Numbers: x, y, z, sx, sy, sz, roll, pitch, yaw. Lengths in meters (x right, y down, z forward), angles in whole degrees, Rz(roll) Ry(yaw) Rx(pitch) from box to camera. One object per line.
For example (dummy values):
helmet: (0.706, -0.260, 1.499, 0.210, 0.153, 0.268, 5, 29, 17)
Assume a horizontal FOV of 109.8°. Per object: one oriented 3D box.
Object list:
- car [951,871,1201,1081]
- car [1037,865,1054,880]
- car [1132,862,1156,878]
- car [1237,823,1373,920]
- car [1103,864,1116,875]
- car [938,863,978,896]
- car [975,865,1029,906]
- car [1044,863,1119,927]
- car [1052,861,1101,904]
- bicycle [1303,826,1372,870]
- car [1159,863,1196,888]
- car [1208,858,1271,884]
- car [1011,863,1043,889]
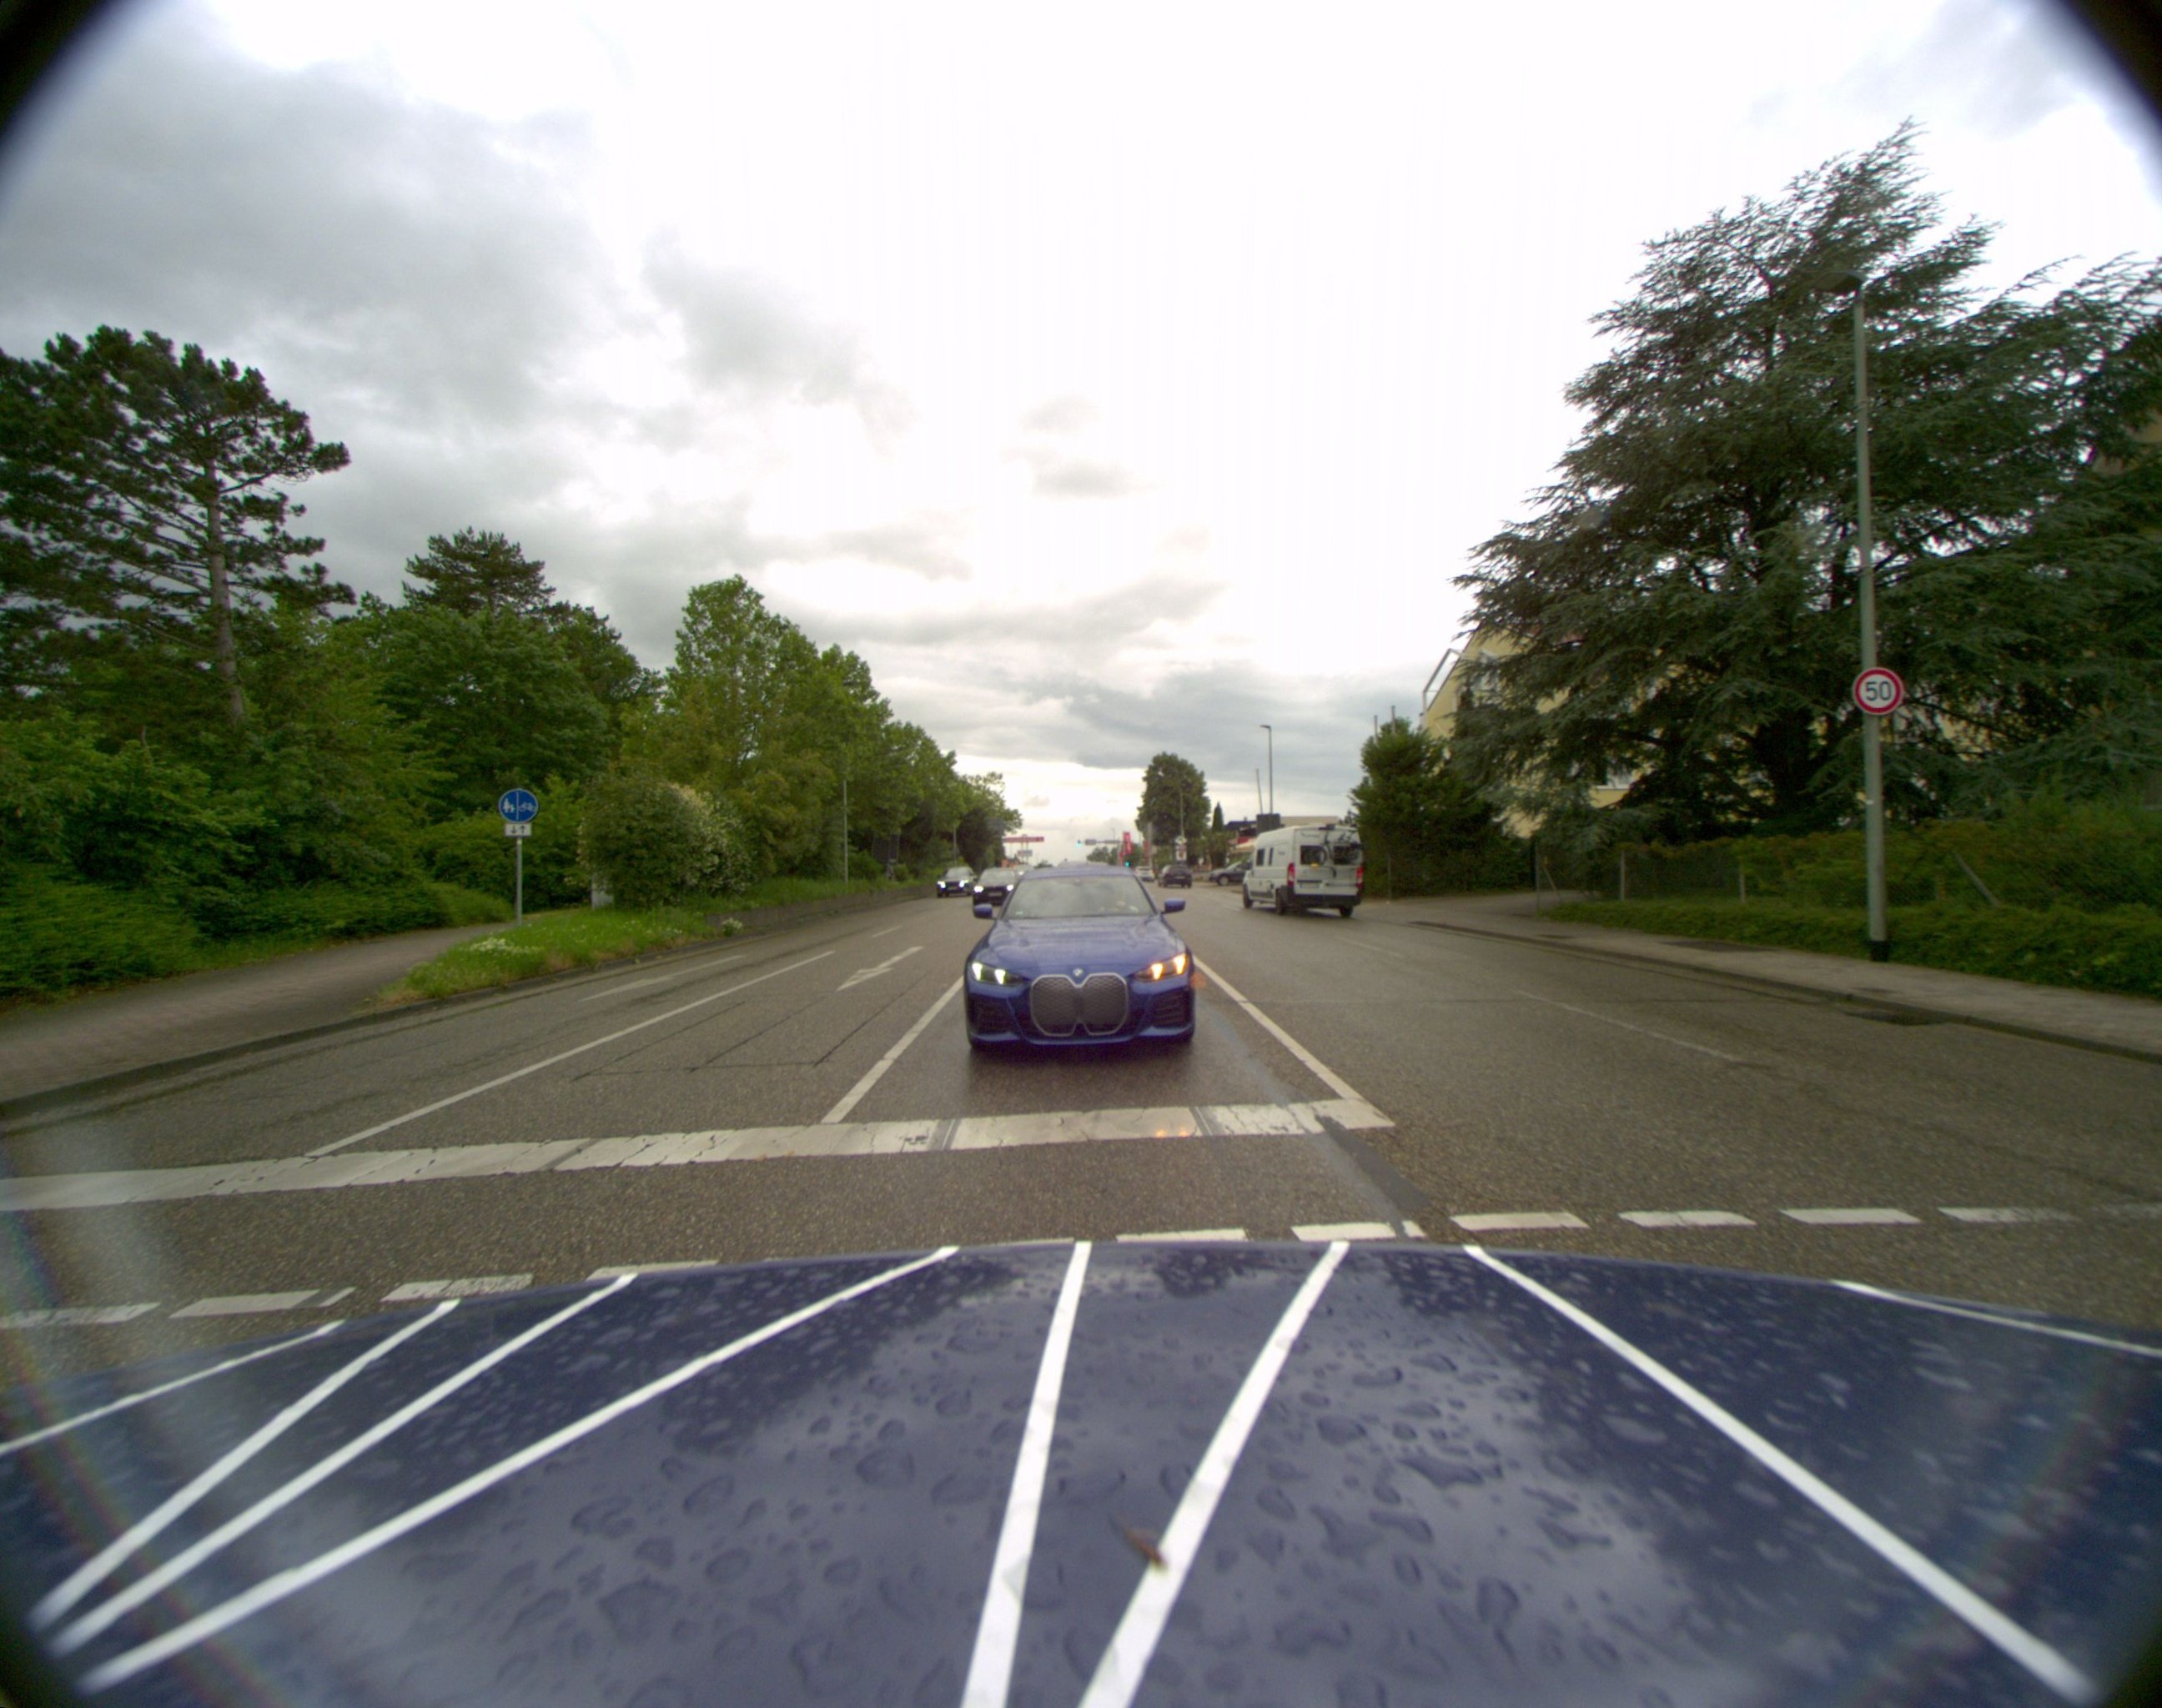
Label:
car: (-0.045, 0.944, 7.701, 1.804, 1.399, 4.272, -1, 0, 0)
car: (-4.140, 2.111, 89.107, 1.829, 1.612, 3.841, -1, 0, -1)
car: (5.902, 1.455, 71.094, 1.751, 1.389, 3.801, -1, 0, -2)
car: (6.513, 0.476, 22.913, 2.303, 2.513, 5.773, 1, 0, -1)
car: (4.421, 2.437, 117.956, 1.704, 1.590, 3.548, -1, 0, -3)
car: (-6.834, 1.389, 42.628, 1.705, 1.612, 3.841, -3, 0, -3)
car: (-3.175, 1.236, 31.406, 1.795, 1.451, 4.719, -2, 0, -1)
car: (0.016, 1.017, 20.565, 1.807, 1.543, 4.223, -1, -1, 0)
car: (-0.174, 1.078, 30.422, 1.807, 1.543, 4.000, -1, 0, 0)
bicycle: (6.676, -0.158, 19.822, 1.640, 1.119, 0.468, 1, 0, -1)
car: (6.320, 1.374, 50.071, 1.780, 1.493, 4.471, -1, 0, -1)
car: (10.544, 1.133, 50.771, 3.930, 1.642, 1.719, -1, 0, 6)
car: (-3.896, 1.581, 55.150, 1.979, 1.612, 3.841, -3, 1, -1)
